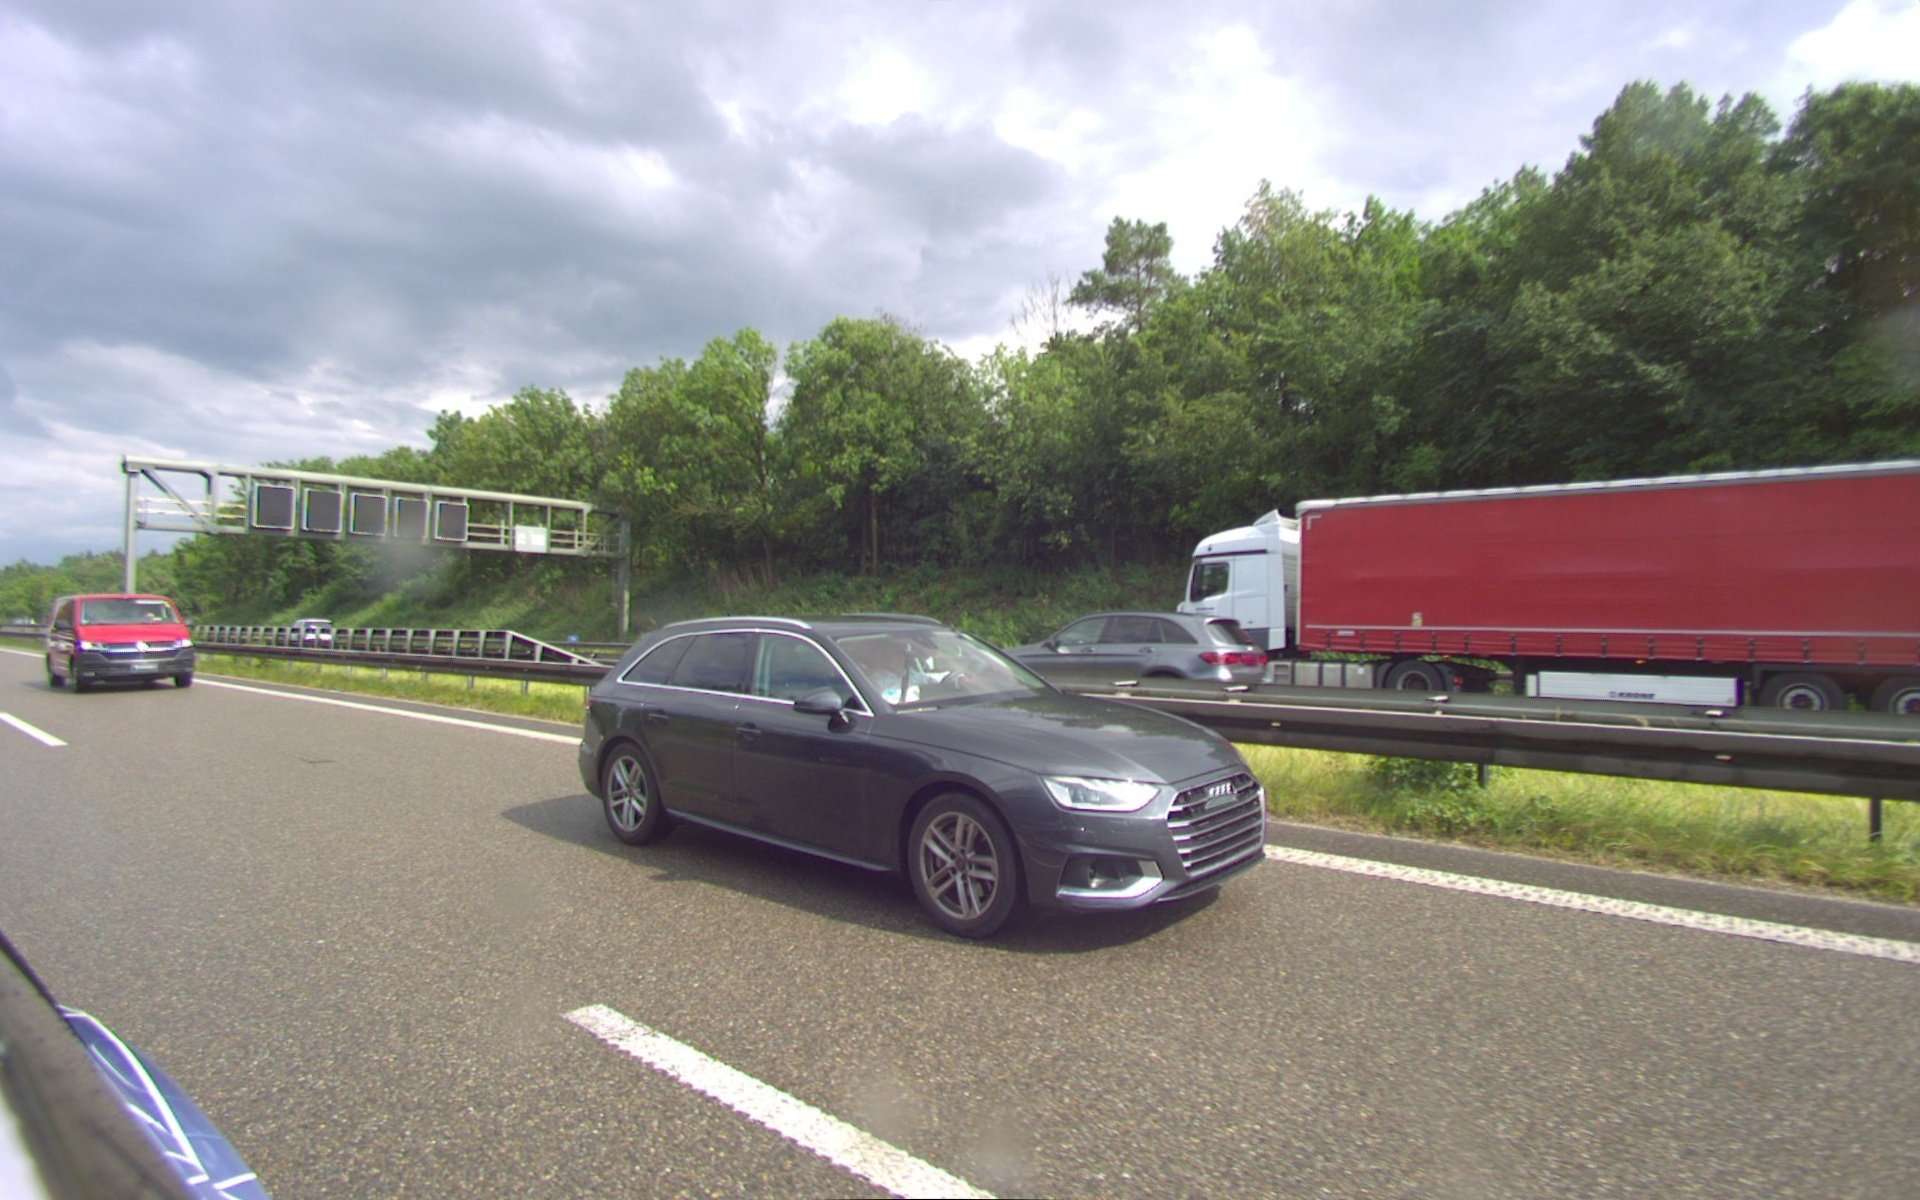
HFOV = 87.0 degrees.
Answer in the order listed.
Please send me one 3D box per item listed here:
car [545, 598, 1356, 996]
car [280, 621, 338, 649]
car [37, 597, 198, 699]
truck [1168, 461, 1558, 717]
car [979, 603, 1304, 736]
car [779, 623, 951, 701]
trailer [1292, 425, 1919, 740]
[{"bbox_3d":[-0.433,0.736,5.944,4.837,1.429,1.775,-1,0,42],"label":"car"},{"bbox_3d":[-40.748,2.164,63.316,4.628,1.675,1.810,-1,0,41],"label":"car"},{"bbox_3d":[-17.602,0.906,21.057,4.837,1.880,1.902,-1,0,42],"label":"car"},{"bbox_3d":[8.023,-0.168,20.710,6.864,4.406,2.834,-1,0,41],"label":"truck"},{"bbox_3d":[2.566,0.903,14.985,4.438,1.675,1.818,-1,0,41],"label":"car"},{"bbox_3d":[-2.372,1.417,24.542,4.234,1.675,1.682,-1,0,41],"label":"car"},{"bbox_3d":[12.843,-0.232,16.548,14.084,4.406,2.833,-1,0,41],"label":"trailer"}]
